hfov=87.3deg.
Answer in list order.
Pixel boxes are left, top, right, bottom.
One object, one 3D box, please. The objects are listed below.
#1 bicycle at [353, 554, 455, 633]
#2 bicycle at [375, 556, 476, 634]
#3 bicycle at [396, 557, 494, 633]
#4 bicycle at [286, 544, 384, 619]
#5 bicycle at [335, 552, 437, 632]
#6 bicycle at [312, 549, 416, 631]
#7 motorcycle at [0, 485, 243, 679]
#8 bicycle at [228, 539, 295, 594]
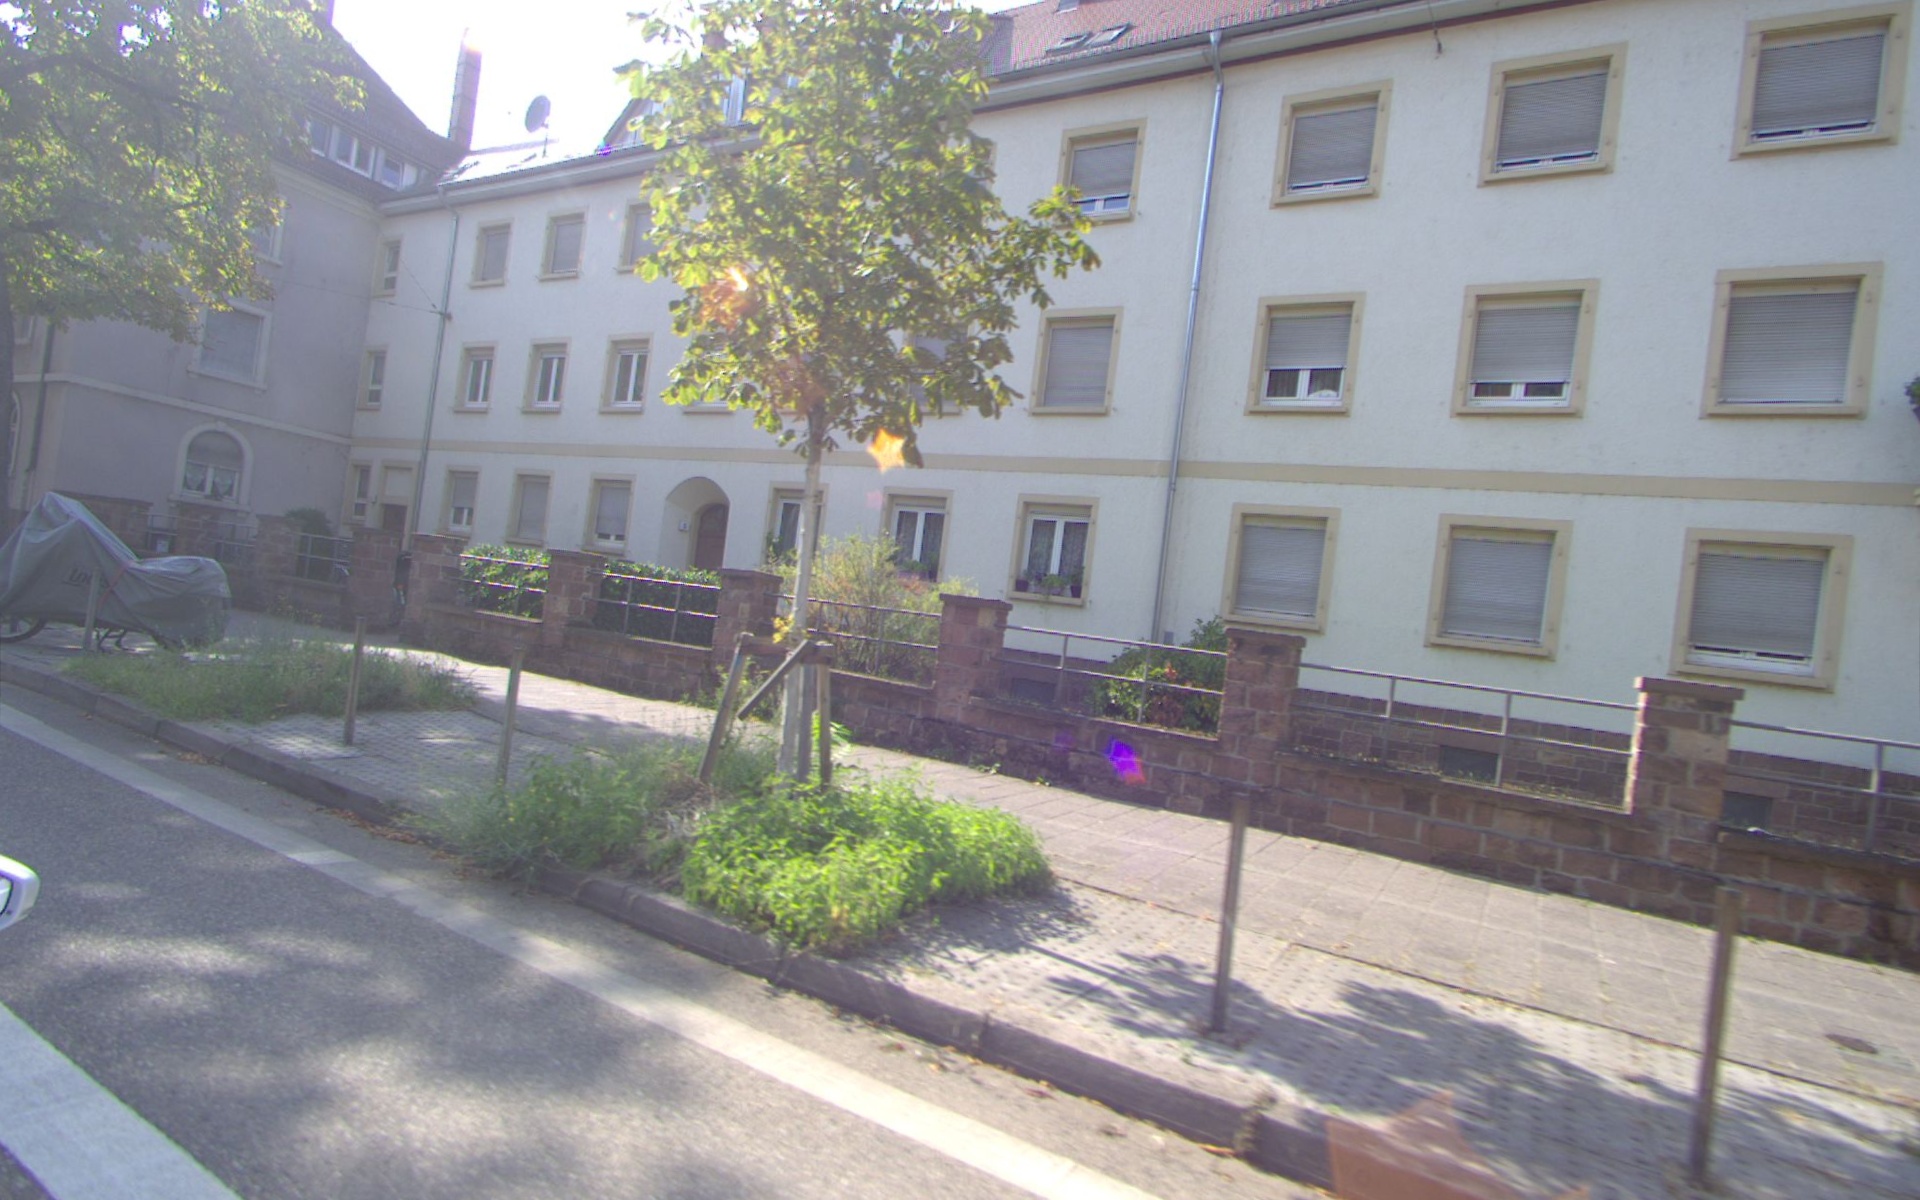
[{"bbox_3d":[-9.502,-0.121,17.180,1.965,1.117,0.425,7,0,28],"label":"bicycle"},{"bbox_3d":[-9.350,-0.093,17.569,1.965,1.117,0.425,7,0,28],"label":"bicycle"},{"bbox_3d":[-9.226,-0.098,17.995,1.965,1.117,0.425,7,0,28],"label":"bicycle"},{"bbox_3d":[-11.232,-0.333,18.063,1.841,1.117,0.539,7,0,28],"label":"bicycle"},{"bbox_3d":[-9.675,-0.147,16.932,1.965,1.117,0.425,7,0,28],"label":"bicycle"},{"bbox_3d":[-9.874,-0.173,16.635,1.965,1.117,0.424,7,0,28],"label":"bicycle"},{"bbox_3d":[-8.864,-0.209,10.133,2.382,1.695,0.910,7,1,-15],"label":"motorcycle"},{"bbox_3d":[-16.965,-0.826,24.409,1.842,1.117,0.538,7,0,31],"label":"bicycle"}]
